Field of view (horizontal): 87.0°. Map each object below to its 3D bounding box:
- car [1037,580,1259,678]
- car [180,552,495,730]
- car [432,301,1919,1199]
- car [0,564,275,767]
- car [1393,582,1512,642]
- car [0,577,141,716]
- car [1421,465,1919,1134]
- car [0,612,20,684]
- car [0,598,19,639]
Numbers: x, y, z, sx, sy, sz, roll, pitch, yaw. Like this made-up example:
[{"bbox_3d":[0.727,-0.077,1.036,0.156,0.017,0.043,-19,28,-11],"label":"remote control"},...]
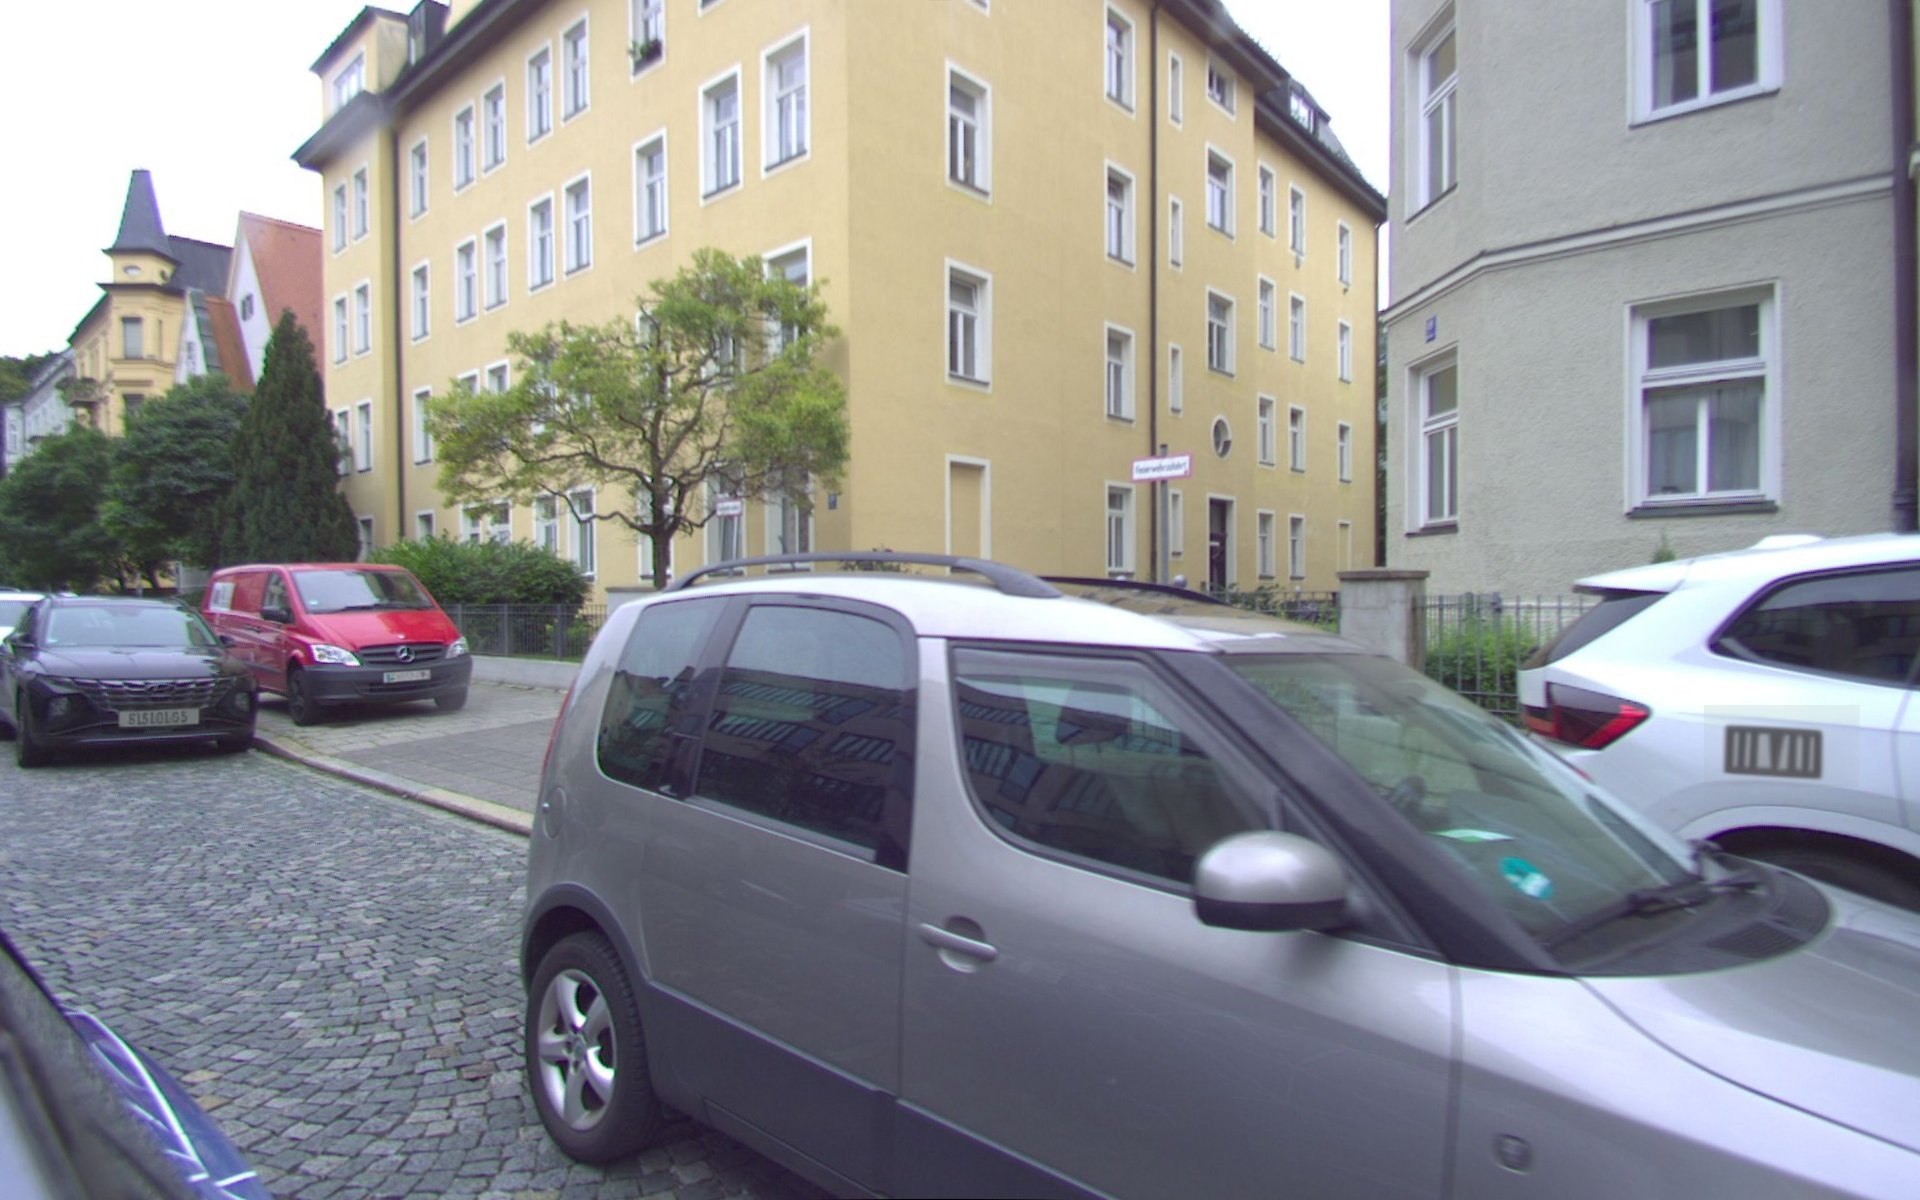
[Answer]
[{"bbox_3d":[3.225,0.424,16.830,1.833,1.434,4.025,0,0,41],"label":"car"},{"bbox_3d":[-8.495,0.432,13.574,5.326,1.945,1.974,0,2,40],"label":"car"},{"bbox_3d":[0.678,0.598,2.473,4.398,1.748,1.847,-1,-2,39],"label":"car"},{"bbox_3d":[-9.321,0.627,11.029,4.754,1.748,1.897,0,-4,42],"label":"car"},{"bbox_3d":[12.484,0.281,25.556,1.747,1.399,3.936,0,0,41],"label":"car"},{"bbox_3d":[-14.241,0.632,15.373,5.173,1.822,1.985,0,-1,42],"label":"car"},{"bbox_3d":[3.951,0.461,2.633,4.654,1.747,1.925,0,3,40],"label":"car"},{"bbox_3d":[-20.967,0.953,20.993,3.934,1.429,1.712,0,-2,41],"label":"car"},{"bbox_3d":[-38.430,0.736,39.686,4.464,1.547,1.722,0,2,40],"label":"car"}]
